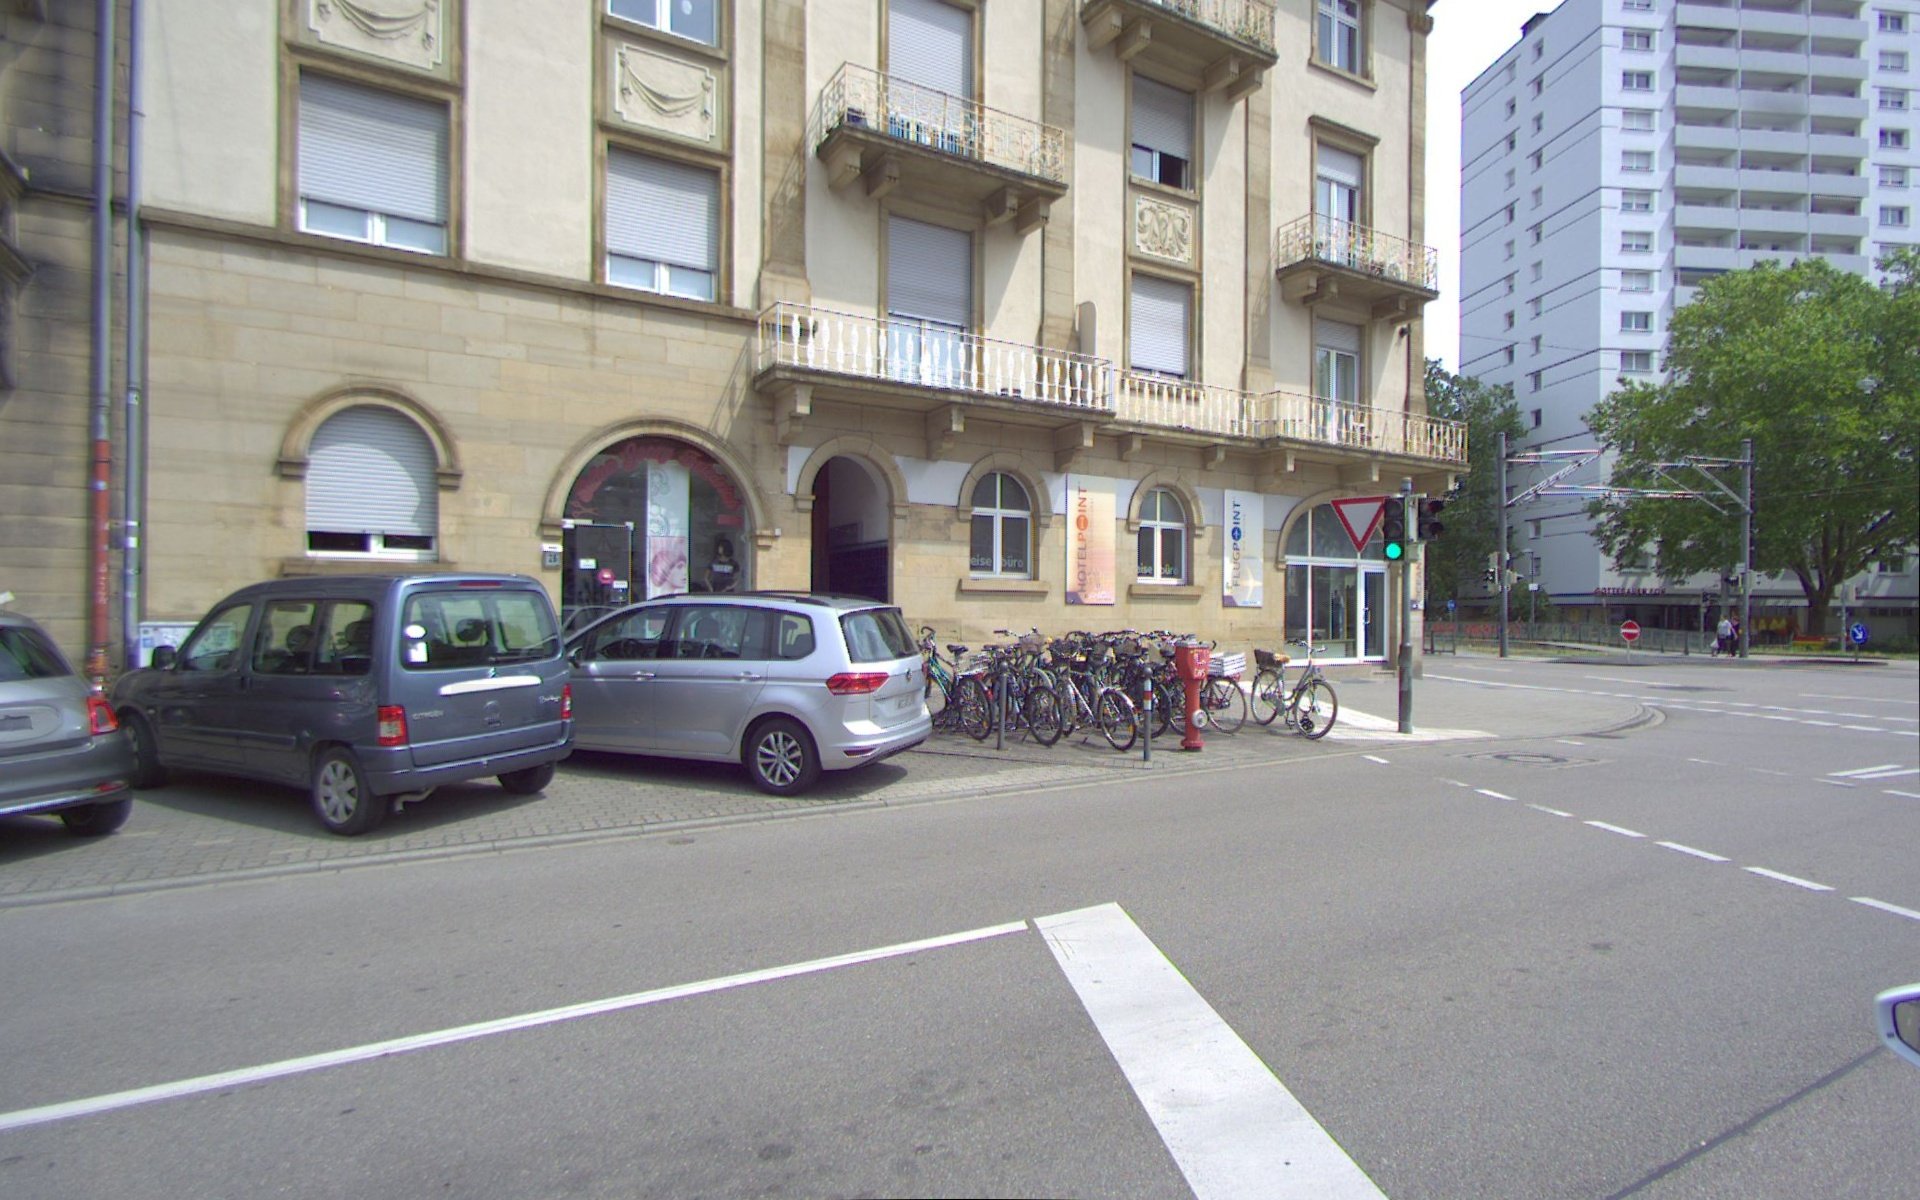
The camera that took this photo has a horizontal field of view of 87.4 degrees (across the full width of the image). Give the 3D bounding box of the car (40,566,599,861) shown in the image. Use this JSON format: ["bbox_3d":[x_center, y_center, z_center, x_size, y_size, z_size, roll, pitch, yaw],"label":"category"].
[{"bbox_3d":[-5.097,0.752,8.048,3.934,1.904,1.796,0,-1,21],"label":"car"}]

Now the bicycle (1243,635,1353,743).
[{"bbox_3d":[4.266,1.087,12.832,0.489,1.182,1.878,1,1,-9],"label":"bicycle"}]

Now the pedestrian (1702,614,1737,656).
[{"bbox_3d":[28.937,1.317,38.283,0.709,1.593,0.809,0,-1,-2],"label":"pedestrian"}]

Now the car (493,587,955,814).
[{"bbox_3d":[-2.199,0.816,9.499,3.934,1.797,1.796,0,-1,21],"label":"car"}]

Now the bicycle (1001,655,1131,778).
[{"bbox_3d":[1.089,1.184,10.746,0.586,1.135,1.805,1,-1,-23],"label":"bicycle"}]

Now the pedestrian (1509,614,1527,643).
[{"bbox_3d":[37.189,1.890,66.954,0.726,1.909,0.764,0,-1,-4],"label":"pedestrian"}]

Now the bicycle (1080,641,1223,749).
[{"bbox_3d":[2.357,1.142,12.567,0.589,1.135,1.796,1,1,-37],"label":"bicycle"}]

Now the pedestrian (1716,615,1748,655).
[{"bbox_3d":[29.942,1.364,38.985,0.709,1.534,0.933,0,-1,18],"label":"pedestrian"}]

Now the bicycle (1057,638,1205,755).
[{"bbox_3d":[2.000,1.100,11.970,0.589,1.182,1.796,1,1,-37],"label":"bicycle"}]

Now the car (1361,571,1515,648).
[{"bbox_3d":[26.914,0.579,57.290,3.390,3.967,9.910,0,-1,-5],"label":"car"}]

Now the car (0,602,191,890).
[{"bbox_3d":[-7.350,0.854,6.659,3.934,1.673,1.796,0,-1,21],"label":"car"}]

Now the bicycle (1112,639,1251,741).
[{"bbox_3d":[2.846,1.124,13.103,0.589,1.135,1.796,1,1,-37],"label":"bicycle"}]

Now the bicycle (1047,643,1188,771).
[{"bbox_3d":[1.682,1.116,11.047,0.586,1.135,1.803,1,2,-26],"label":"bicycle"}]
